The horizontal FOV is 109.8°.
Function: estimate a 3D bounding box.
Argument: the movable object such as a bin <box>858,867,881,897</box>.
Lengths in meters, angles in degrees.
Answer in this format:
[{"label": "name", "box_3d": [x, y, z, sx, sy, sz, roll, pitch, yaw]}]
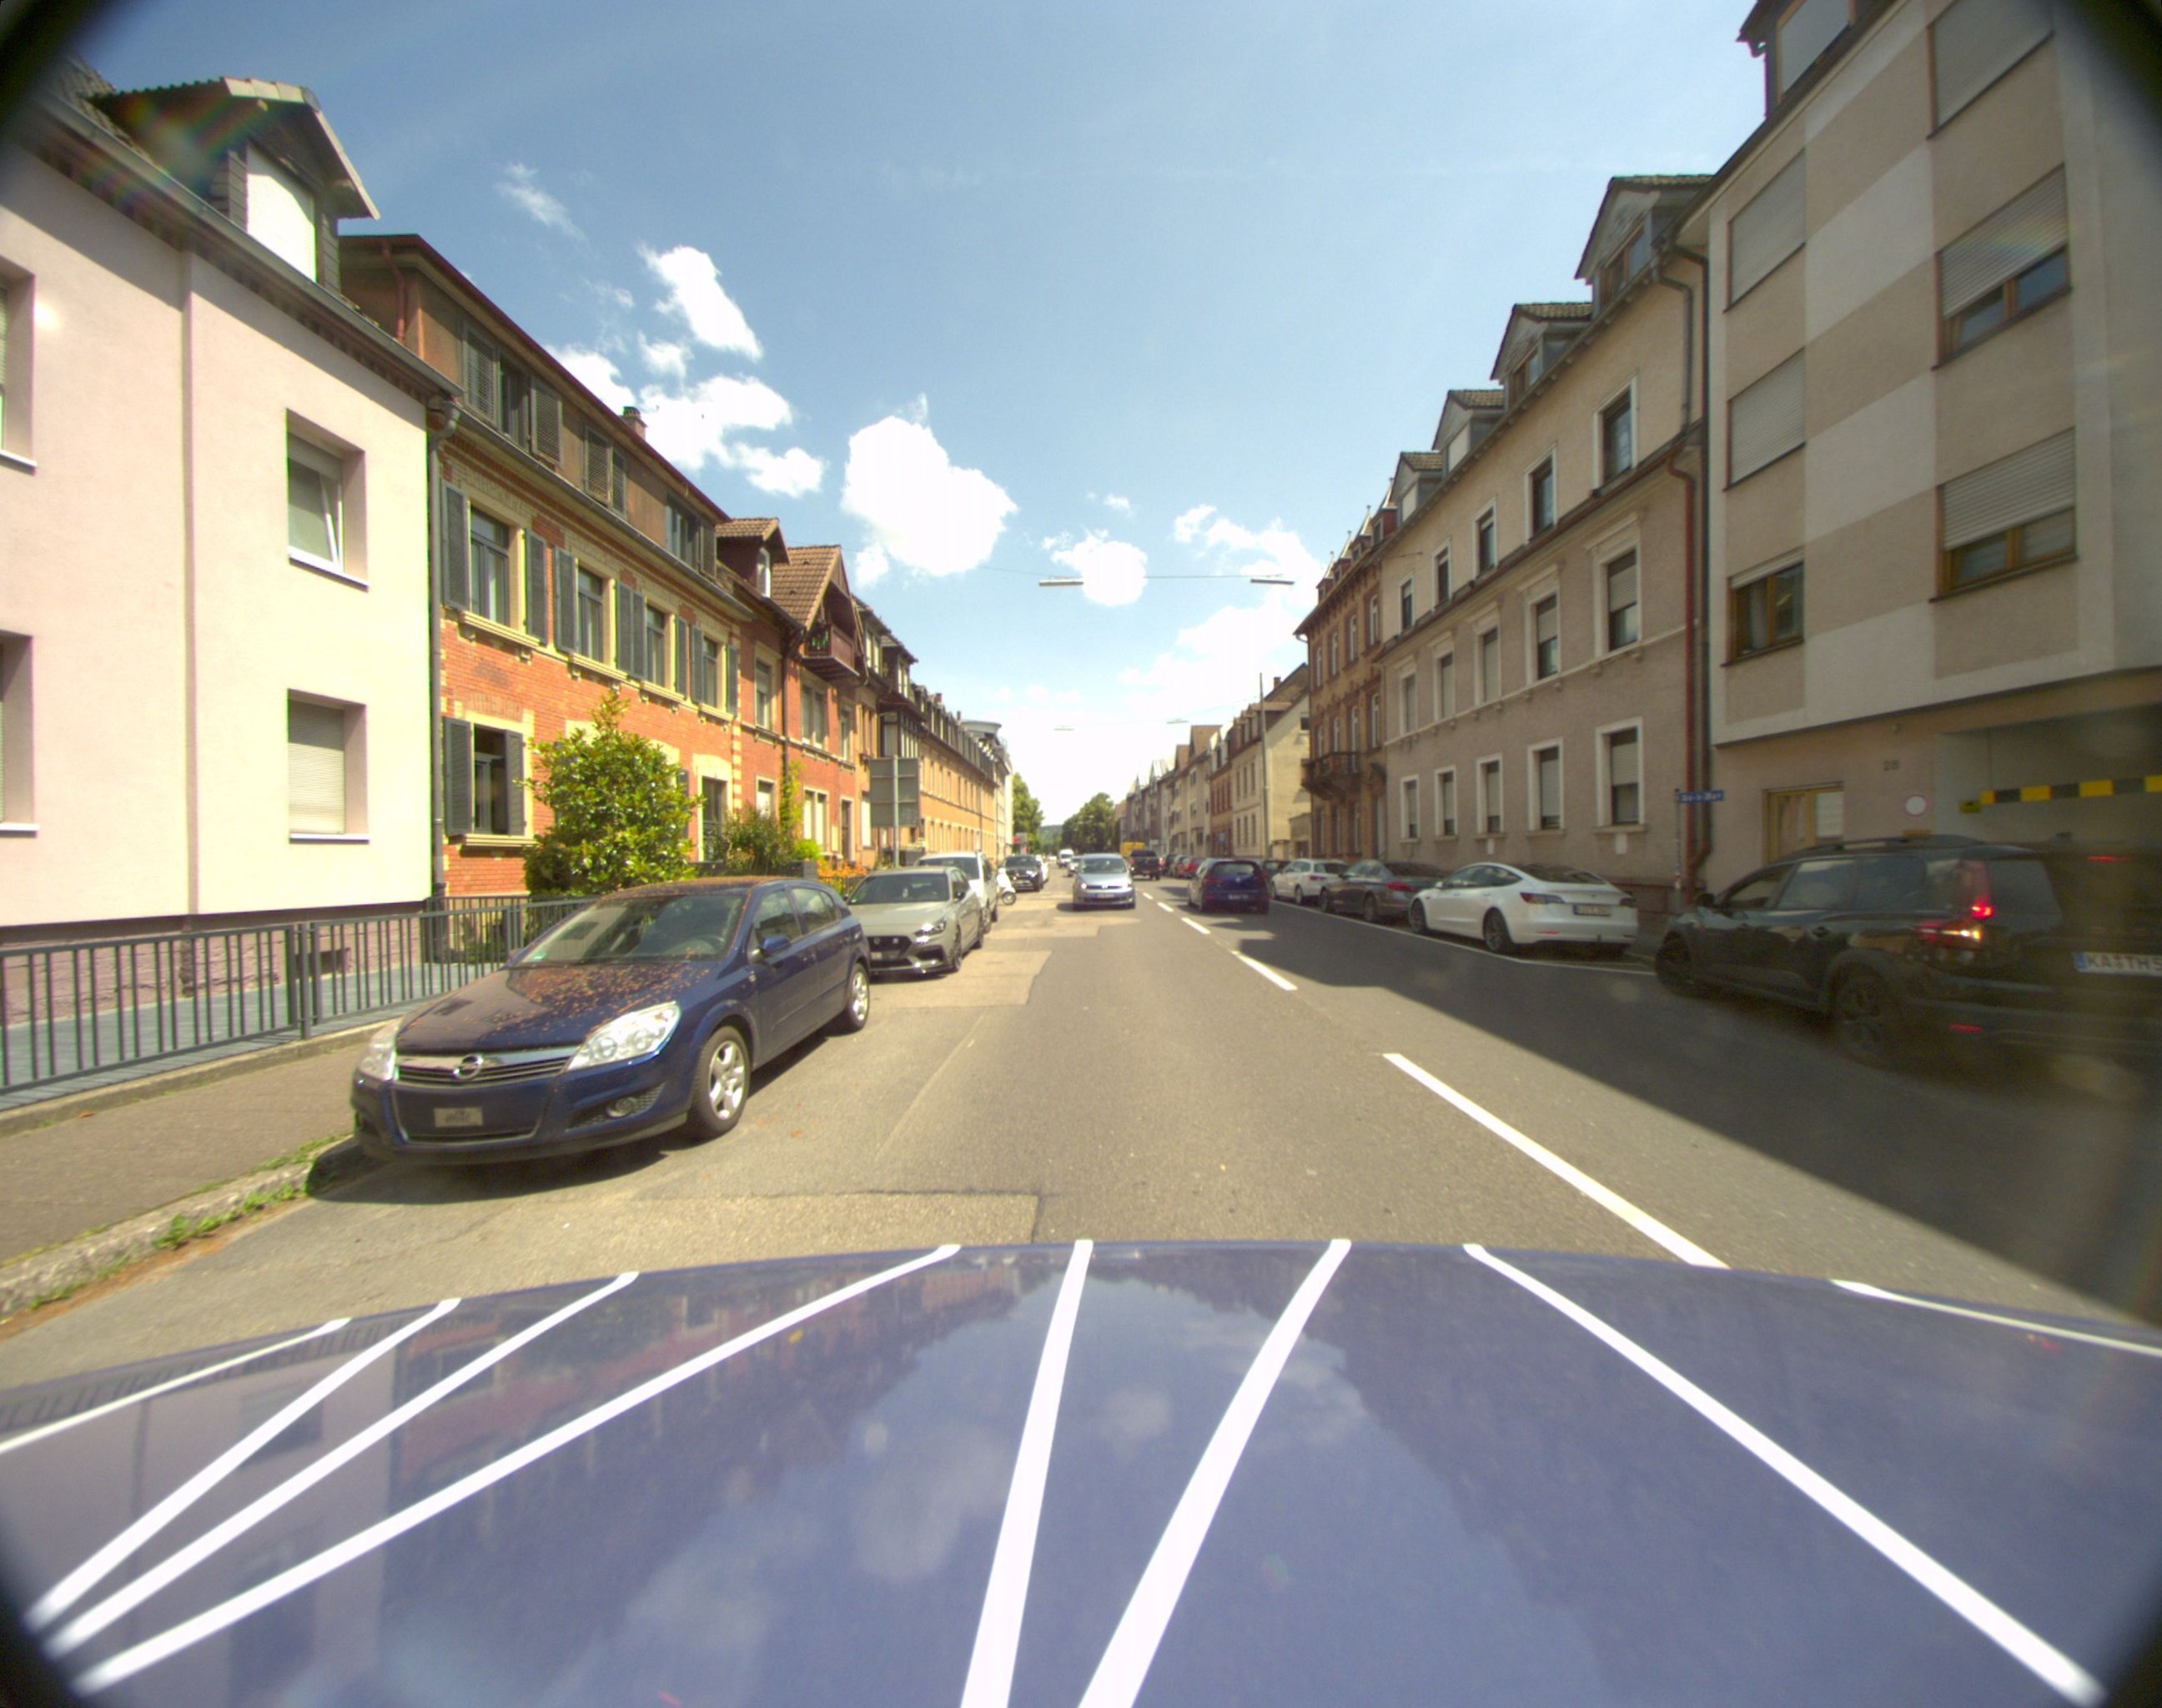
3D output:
[{"label": "movable object such as a bin", "box_3d": [-7.767, 1.012, 27.965, 0.610, 1.070, 0.761, -1, 1, 1]}]

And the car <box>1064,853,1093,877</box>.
[{"label": "car", "box_3d": [-0.183, 0.746, 54.697, 1.999, 1.652, 4.624, 0, 1, 0]}]

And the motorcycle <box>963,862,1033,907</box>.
[{"label": "motorcycle", "box_3d": [-2.701, 0.968, 24.653, 1.990, 1.377, 1.115, -1, 1, 38]}]

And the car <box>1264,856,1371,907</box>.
[{"label": "car", "box_3d": [7.483, 0.810, 24.544, 1.845, 1.414, 4.500, 1, 1, -2]}]

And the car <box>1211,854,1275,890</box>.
[{"label": "car", "box_3d": [7.515, 0.787, 35.670, 1.845, 1.414, 4.501, 4, 1, -2]}]

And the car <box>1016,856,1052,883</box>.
[{"label": "car", "box_3d": [-2.643, 0.863, 43.588, 1.721, 1.406, 4.589, 0, 0, 0]}]

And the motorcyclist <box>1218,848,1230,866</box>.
[{"label": "motorcyclist", "box_3d": [10.031, 0.180, 53.383, 0.720, 1.241, 0.712, -1, 1, -2]}]

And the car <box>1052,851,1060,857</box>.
[{"label": "car", "box_3d": [-5.805, 0.064, 175.153, 1.721, 1.406, 4.589, 0, 0, 0]}]

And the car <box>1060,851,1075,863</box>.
[{"label": "car", "box_3d": [-1.645, 0.316, 92.509, 1.721, 1.406, 4.589, 0, 0, 0]}]

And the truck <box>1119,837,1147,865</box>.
[{"label": "truck", "box_3d": [5.382, -0.272, 79.554, 2.231, 2.755, 7.562, 1, 0, -1]}]

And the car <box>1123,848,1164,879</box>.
[{"label": "car", "box_3d": [3.747, 0.532, 46.080, 1.999, 1.782, 5.147, 0, 0, -1]}]

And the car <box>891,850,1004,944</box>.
[{"label": "car", "box_3d": [-2.824, 0.825, 17.055, 1.865, 1.737, 4.616, -3, 0, -3]}]

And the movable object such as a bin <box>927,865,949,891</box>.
[{"label": "movable object such as a bin", "box_3d": [-5.995, 0.994, 31.853, 0.790, 1.082, 0.686, 0, 1, -3]}]

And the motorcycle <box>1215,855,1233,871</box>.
[{"label": "motorcycle", "box_3d": [10.019, 0.633, 53.333, 0.847, 1.072, 1.871, -3, 1, -1]}]

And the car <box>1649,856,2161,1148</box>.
[{"label": "car", "box_3d": [6.902, 0.853, 6.436, 1.907, 1.628, 4.564, 1, 0, 18]}]

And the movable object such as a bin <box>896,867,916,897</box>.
[{"label": "movable object such as a bin", "box_3d": [-6.428, 1.009, 27.950, 0.558, 1.069, 0.727, -1, 1, 1]}]

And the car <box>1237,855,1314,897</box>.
[{"label": "car", "box_3d": [7.530, 0.798, 29.801, 1.844, 1.414, 4.502, 3, 1, 1]}]

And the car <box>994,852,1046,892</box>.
[{"label": "car", "box_3d": [-2.664, 0.740, 34.148, 1.999, 1.652, 4.624, 0, 1, 0]}]

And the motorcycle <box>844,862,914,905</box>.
[{"label": "motorcycle", "box_3d": [-6.857, 0.997, 25.891, 2.134, 1.400, 0.937, 1, 1, -1]}]

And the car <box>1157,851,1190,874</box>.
[{"label": "car", "box_3d": [7.043, 0.619, 58.286, 1.844, 1.587, 4.501, 1, 1, -1]}]

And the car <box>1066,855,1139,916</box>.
[{"label": "car", "box_3d": [0.516, 0.820, 21.891, 1.747, 1.513, 4.221, -1, 0, -3]}]

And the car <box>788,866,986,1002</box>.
[{"label": "car", "box_3d": [-2.598, 0.993, 11.279, 1.865, 1.478, 4.309, -3, 0, -2]}]

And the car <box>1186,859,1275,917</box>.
[{"label": "car", "box_3d": [4.007, 0.863, 20.944, 1.820, 1.380, 4.001, 1, 0, 3]}]

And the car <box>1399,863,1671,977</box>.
[{"label": "car", "box_3d": [7.201, 0.935, 12.739, 1.844, 1.414, 4.557, 2, 1, 1]}]

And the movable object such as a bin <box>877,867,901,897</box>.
[{"label": "movable object such as a bin", "box_3d": [-7.070, 1.019, 27.958, 0.660, 1.049, 0.748, -1, 1, 1]}]

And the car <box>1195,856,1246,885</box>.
[{"label": "car", "box_3d": [7.547, 0.879, 41.538, 1.844, 1.414, 4.501, 1, 1, -1]}]

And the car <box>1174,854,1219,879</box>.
[{"label": "car", "box_3d": [7.210, 0.750, 48.005, 1.845, 1.414, 4.500, 2, 0, -4]}]

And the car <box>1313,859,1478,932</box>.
[{"label": "car", "box_3d": [7.258, 0.880, 18.146, 1.845, 1.414, 4.644, 1, 1, -2]}]

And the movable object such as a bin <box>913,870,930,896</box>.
[{"label": "movable object such as a bin", "box_3d": [-5.877, 1.063, 27.963, 0.482, 0.935, 0.526, -1, 1, 1]}]

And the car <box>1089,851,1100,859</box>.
[{"label": "car", "box_3d": [2.928, 0.222, 164.853, 1.891, 1.531, 4.566, -1, 0, -5]}]

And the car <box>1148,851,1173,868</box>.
[{"label": "car", "box_3d": [7.950, 0.511, 76.286, 1.845, 1.479, 4.385, -3, 1, -2]}]

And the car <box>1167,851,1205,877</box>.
[{"label": "car", "box_3d": [7.251, 0.664, 52.952, 1.844, 1.587, 4.501, 2, 1, -1]}]

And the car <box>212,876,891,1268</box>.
[{"label": "car", "box_3d": [-2.857, 1.007, 5.587, 1.700, 1.478, 4.617, -3, 0, 0]}]

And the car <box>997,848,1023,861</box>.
[{"label": "car", "box_3d": [-13.357, 0.115, 142.387, 4.615, 2.263, 2.105, -3, 1, -3]}]

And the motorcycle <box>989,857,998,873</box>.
[{"label": "motorcycle", "box_3d": [-6.970, 0.865, 60.722, 0.597, 1.218, 1.361, -1, 1, -1]}]
